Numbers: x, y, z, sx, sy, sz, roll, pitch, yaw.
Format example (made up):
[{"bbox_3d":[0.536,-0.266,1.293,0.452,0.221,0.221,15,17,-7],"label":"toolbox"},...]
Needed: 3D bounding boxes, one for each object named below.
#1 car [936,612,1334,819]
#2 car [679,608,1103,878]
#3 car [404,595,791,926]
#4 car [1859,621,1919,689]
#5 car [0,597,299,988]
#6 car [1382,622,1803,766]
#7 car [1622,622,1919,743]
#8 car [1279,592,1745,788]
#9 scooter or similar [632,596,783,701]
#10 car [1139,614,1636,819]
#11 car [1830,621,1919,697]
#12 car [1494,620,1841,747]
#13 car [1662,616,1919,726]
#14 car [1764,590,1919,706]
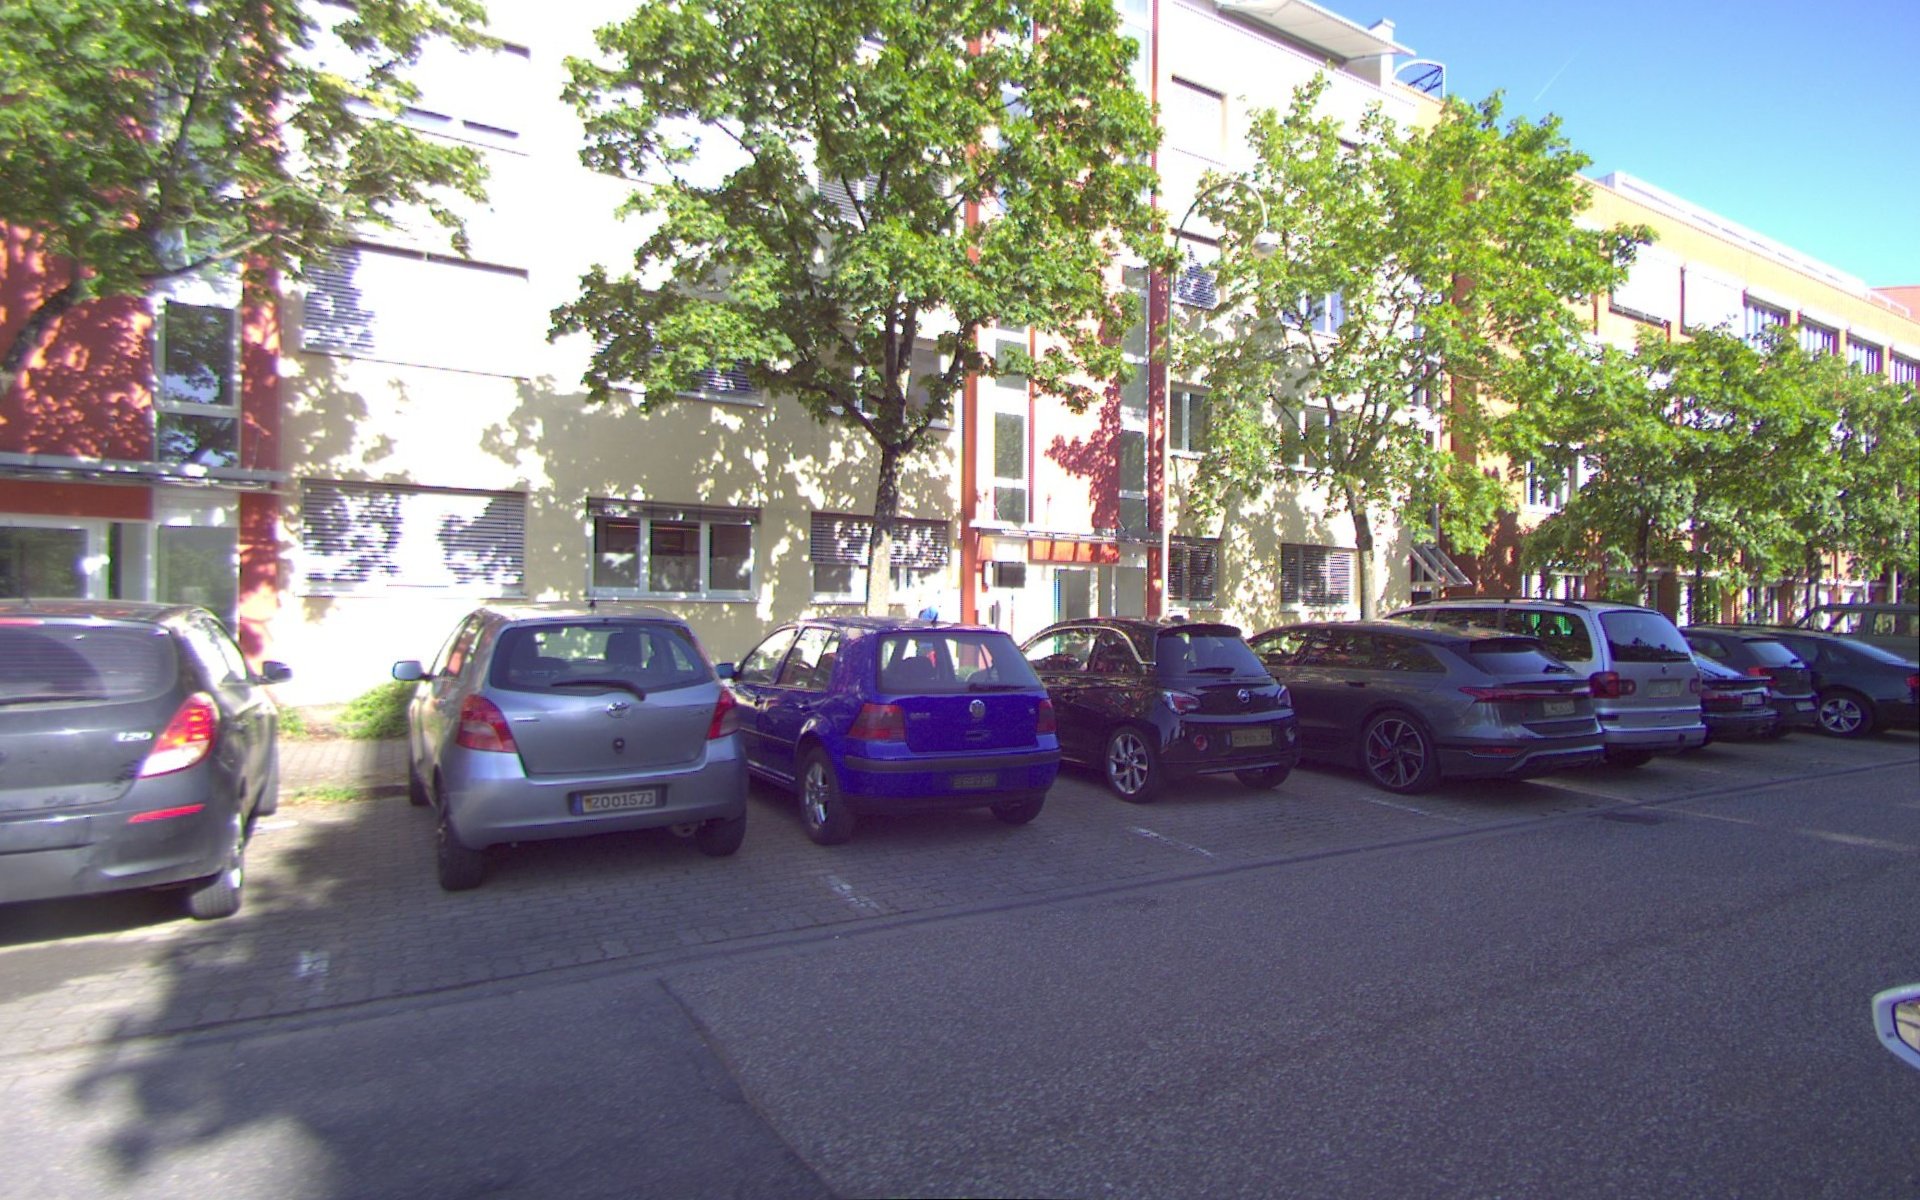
[{"bbox_3d":[1.440,0.900,9.569,1.752,1.446,3.707,1,1,-30],"label":"car"},{"bbox_3d":[-0.777,0.842,7.790,1.819,1.446,3.707,1,1,-30],"label":"car"},{"bbox_3d":[-2.696,0.775,6.860,1.838,1.529,3.707,1,1,-30],"label":"car"},{"bbox_3d":[22.907,1.286,22.075,1.918,1.497,4.303,1,0,-27],"label":"car"},{"bbox_3d":[-4.753,0.761,5.506,1.840,1.466,3.704,1,1,-33],"label":"car"},{"bbox_3d":[7.881,1.060,12.986,1.737,1.376,4.299,1,1,-30],"label":"car"},{"bbox_3d":[12.291,1.127,14.941,1.708,1.446,3.701,1,1,-35],"label":"car"},{"bbox_3d":[6.016,0.824,11.528,1.939,1.740,4.299,1,1,-30],"label":"car"},{"bbox_3d":[-3.738,0.704,14.931,2.085,1.465,0.651,1,-2,-30],"label":"scooter or similar"},{"bbox_3d":[3.934,0.938,10.058,1.753,1.446,4.379,1,1,-31],"label":"car"},{"bbox_3d":[20.767,1.255,20.390,1.918,1.497,4.303,1,0,-27],"label":"car"},{"bbox_3d":[9.977,1.073,14.449,1.705,1.446,3.707,1,1,-30],"label":"car"},{"bbox_3d":[14.436,1.105,16.777,1.704,1.548,4.113,1,1,-29],"label":"car"},{"bbox_3d":[18.449,0.904,19.104,2.056,2.118,4.470,1,1,-28],"label":"car"}]
